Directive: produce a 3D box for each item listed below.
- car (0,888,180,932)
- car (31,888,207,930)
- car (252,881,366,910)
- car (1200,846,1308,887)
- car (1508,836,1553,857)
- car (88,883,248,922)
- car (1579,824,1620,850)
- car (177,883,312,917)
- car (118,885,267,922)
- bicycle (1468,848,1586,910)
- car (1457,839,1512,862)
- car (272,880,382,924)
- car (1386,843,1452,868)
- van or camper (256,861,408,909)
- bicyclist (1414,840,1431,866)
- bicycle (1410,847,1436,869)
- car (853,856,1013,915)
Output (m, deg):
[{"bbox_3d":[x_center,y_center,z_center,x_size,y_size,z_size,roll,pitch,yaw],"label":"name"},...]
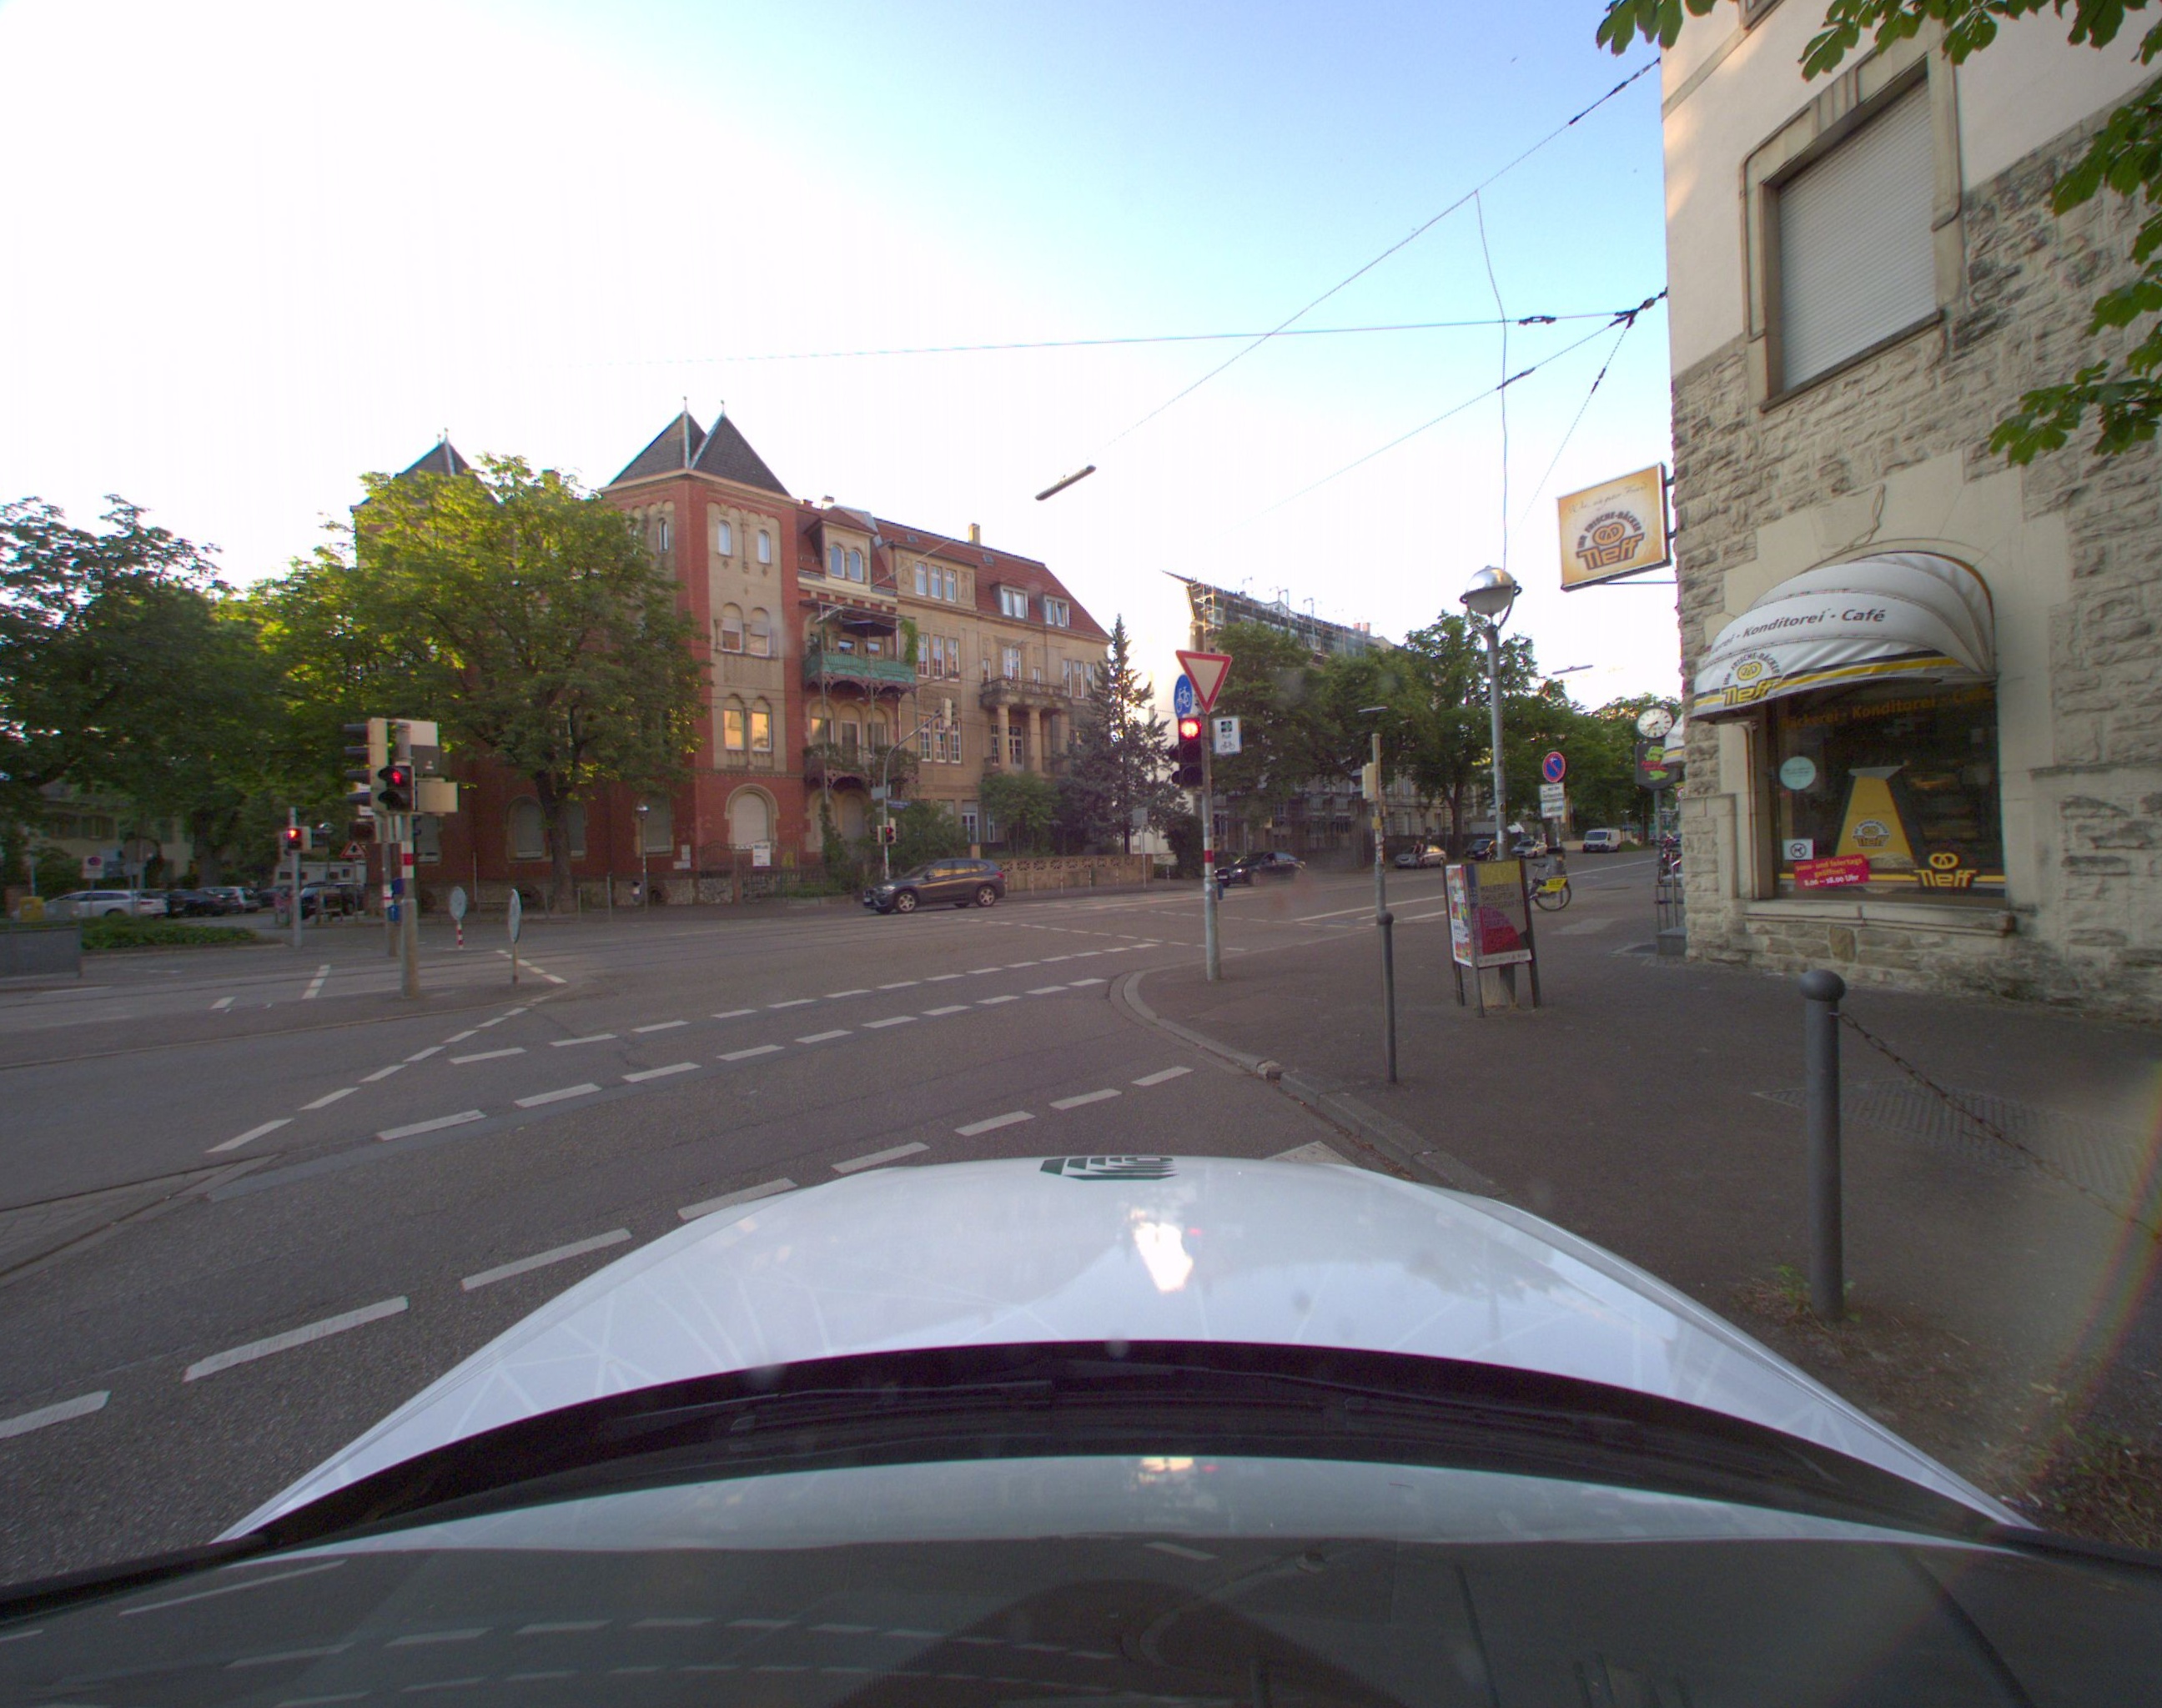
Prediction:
[{"bbox_3d":[-44.469,2.470,36.571,4.974,1.704,1.984,-1,-1,-25],"label":"car"},{"bbox_3d":[-45.375,2.555,38.597,4.974,1.704,1.984,-1,-1,-25],"label":"car"},{"bbox_3d":[-50.111,2.667,53.022,4.974,1.704,1.984,-1,-1,-25],"label":"car"},{"bbox_3d":[7.368,0.522,34.451,4.655,1.510,1.928,-2,0,-38],"label":"car"},{"bbox_3d":[35.614,-0.611,64.475,4.346,1.482,1.926,-2,0,-45],"label":"car"},{"bbox_3d":[-45.752,2.402,40.979,4.974,1.704,1.984,-1,-1,-25],"label":"car"},{"bbox_3d":[49.019,-1.628,77.019,4.657,2.316,1.927,-2,0,-41],"label":"car"},{"bbox_3d":[-47.674,2.567,46.584,4.974,1.704,1.984,-1,-1,-25],"label":"car"},{"bbox_3d":[-47.357,2.596,43.566,4.974,1.704,1.984,-1,-1,-25],"label":"car"},{"bbox_3d":[8.672,0.488,15.903,1.859,1.130,0.734,-2,0,12],"label":"bicycle"},{"bbox_3d":[28.858,-0.271,58.216,4.189,1.482,1.928,-2,0,-38],"label":"car"},{"bbox_3d":[-33.579,2.064,36.456,2.001,1.704,4.686,-1,-1,-21],"label":"car"},{"bbox_3d":[21.334,0.072,51.340,4.658,1.426,1.986,-2,0,-42],"label":"car"},{"bbox_3d":[-52.749,2.107,57.595,7.400,3.083,2.651,-1,-1,-25],"label":"van or camper"},{"bbox_3d":[19.234,-0.082,45.875,0.739,1.428,0.549,-2,0,-35],"label":"bicyclist"},{"bbox_3d":[19.252,0.224,45.870,1.614,1.148,0.549,-2,0,-35],"label":"bicycle"},{"bbox_3d":[-4.499,0.923,25.124,4.441,1.510,1.928,-2,0,-38],"label":"car"}]
